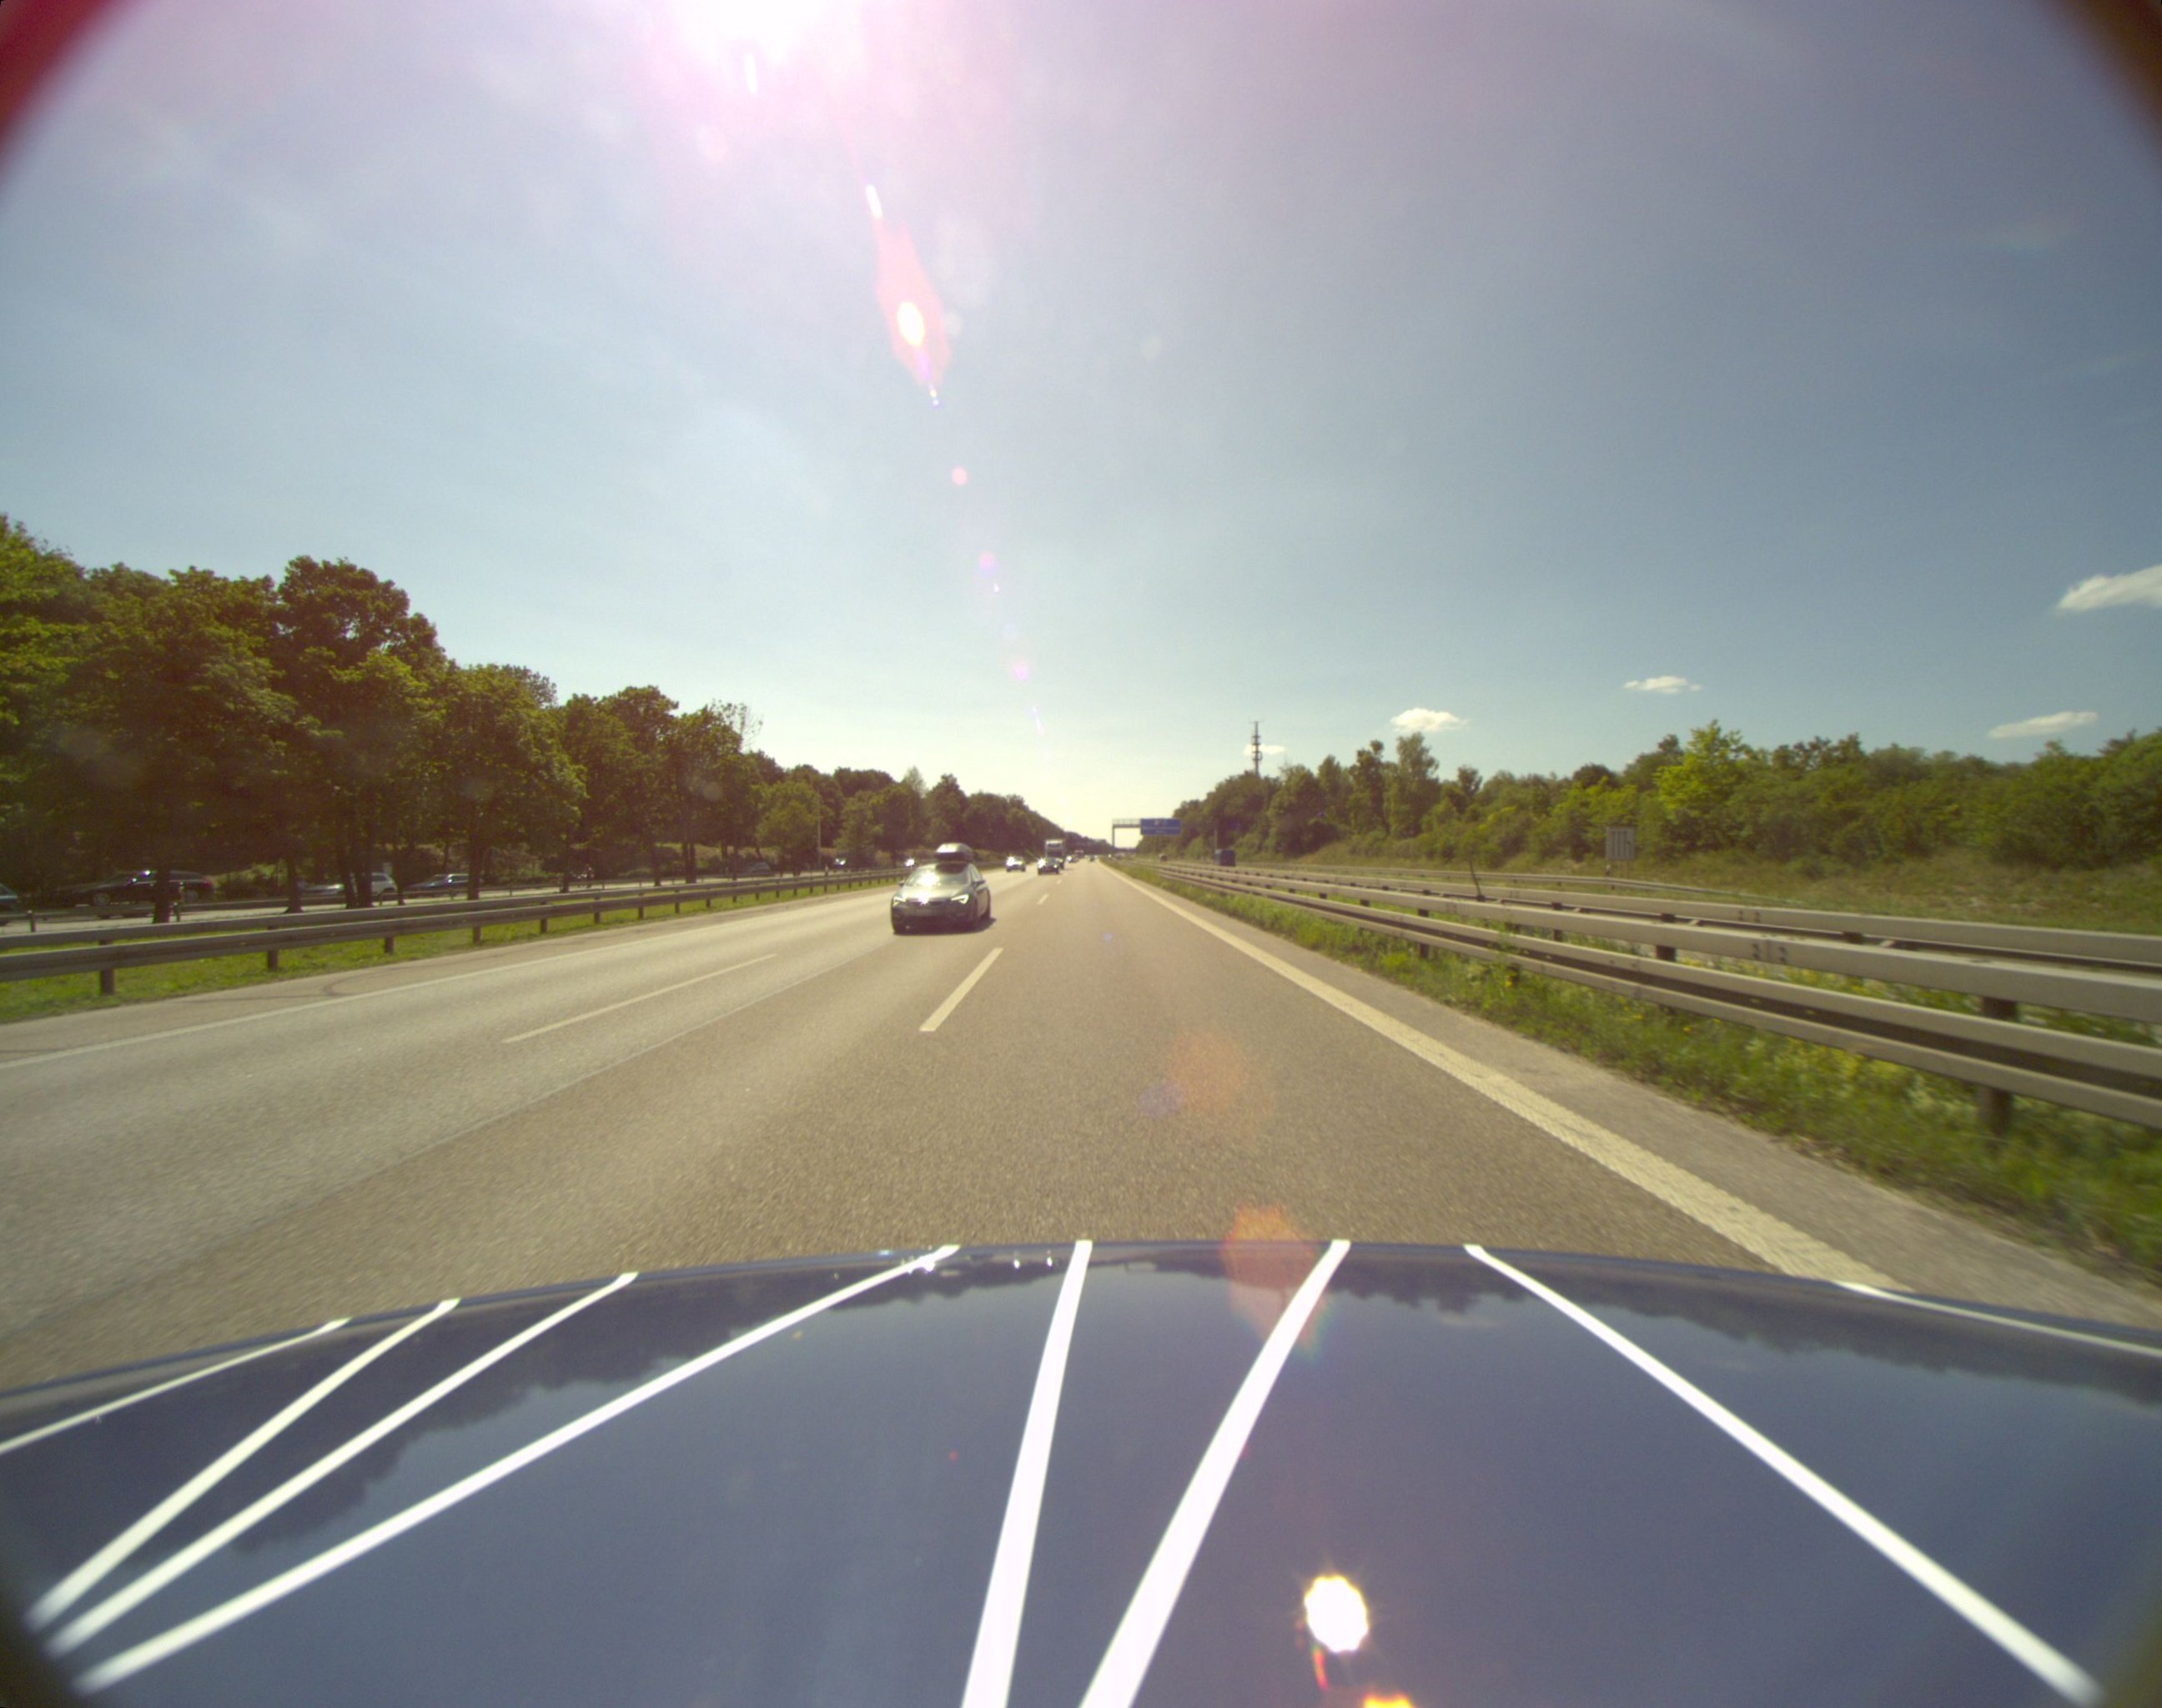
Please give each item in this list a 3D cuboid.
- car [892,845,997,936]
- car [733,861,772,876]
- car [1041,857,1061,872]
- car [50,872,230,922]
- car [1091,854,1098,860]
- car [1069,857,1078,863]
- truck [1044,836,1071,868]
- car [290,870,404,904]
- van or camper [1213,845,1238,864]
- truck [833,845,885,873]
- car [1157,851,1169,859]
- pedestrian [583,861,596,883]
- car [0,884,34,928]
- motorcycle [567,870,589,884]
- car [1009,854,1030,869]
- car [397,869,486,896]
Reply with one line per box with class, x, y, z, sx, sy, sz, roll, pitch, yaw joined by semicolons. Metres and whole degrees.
car;-3.073;0.749;18.043;1.669;1.865;4.827;0;0;-1
car;-37.763;1.651;87.455;1.997;1.641;4.321;0;0;10
car;-2.562;0.891;64.797;1.537;1.265;2.770;-1;0;1
car;-40.946;1.804;33.287;1.659;1.866;4.801;-1;0;5
car;3.057;0.643;174.034;1.591;1.291;3.383;0;0;2
car;-1.587;1.310;165.371;1.831;1.346;3.680;0;0;2
truck;-2.718;-0.243;89.287;2.676;3.660;6.484;-1;0;1
car;-41.352;1.822;43.007;1.659;1.666;4.653;-1;0;5
van or camper;18.191;0.086;95.917;1.998;2.378;6.241;1;0;0
truck;-32.382;0.768;111.249;3.290;3.924;9.359;0;0;12
car;18.878;0.269;174.258;1.999;1.824;5.332;2;0;-1
pedestrian;-39.782;1.465;61.461;0.802;1.772;0.641;-1;1;-38
car;-41.386;1.988;27.098;1.659;1.632;4.498;-1;0;5
motorcycle;-40.454;1.857;61.114;0.559;1.024;1.673;0;0;6
car;-6.601;0.800;81.905;1.848;1.559;4.036;-2;0;2
car;-41.202;1.792;49.068;1.997;1.565;4.003;-1;0;9
